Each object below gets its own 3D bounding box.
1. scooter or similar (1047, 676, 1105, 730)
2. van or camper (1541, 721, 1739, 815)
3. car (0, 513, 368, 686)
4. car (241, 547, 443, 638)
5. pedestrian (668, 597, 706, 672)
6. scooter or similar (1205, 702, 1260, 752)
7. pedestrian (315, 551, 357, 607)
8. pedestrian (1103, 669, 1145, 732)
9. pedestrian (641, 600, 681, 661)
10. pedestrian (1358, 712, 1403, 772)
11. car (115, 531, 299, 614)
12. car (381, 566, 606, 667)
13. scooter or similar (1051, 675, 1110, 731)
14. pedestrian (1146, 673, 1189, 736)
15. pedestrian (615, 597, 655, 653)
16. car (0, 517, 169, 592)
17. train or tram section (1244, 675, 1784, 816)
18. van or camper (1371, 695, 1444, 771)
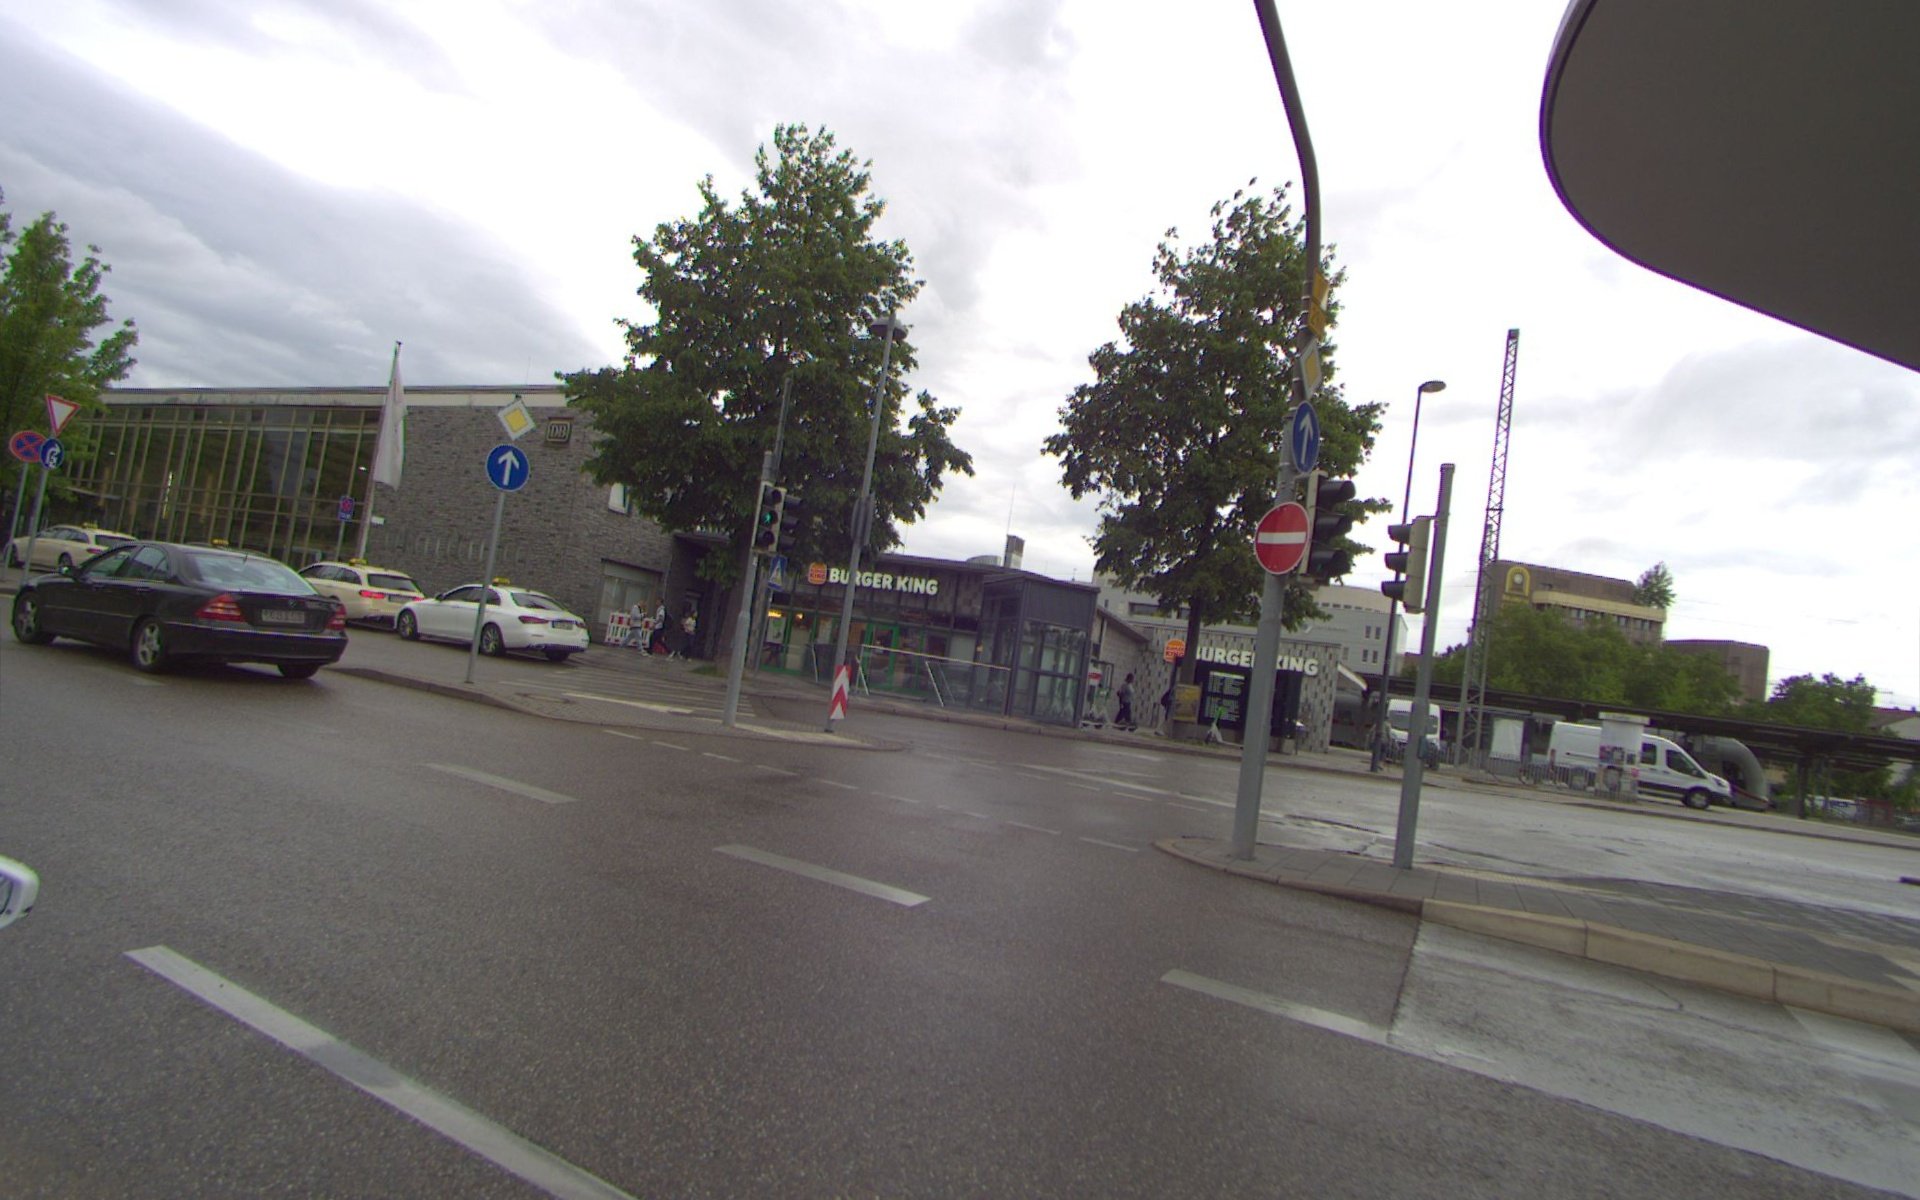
[{"bbox_3d":[2.926,2.592,25.424,1.281,1.196,0.333,7,-1,-5],"label":"scooter or similar"},{"bbox_3d":[25.340,6.198,37.807,5.764,2.461,1.999,6,-2,29],"label":"van or camper"},{"bbox_3d":[-9.271,-0.025,11.770,4.371,1.482,1.700,6,-2,24],"label":"car"},{"bbox_3d":[-15.324,-0.199,24.904,4.873,1.618,1.999,6,-2,29],"label":"car"},{"bbox_3d":[-8.339,1.071,30.792,0.709,2.189,0.798,7,-1,-2],"label":"pedestrian"},{"bbox_3d":[7.328,3.414,27.084,1.281,1.196,0.333,7,-1,-5],"label":"scooter or similar"},{"bbox_3d":[-19.716,-0.651,31.779,0.785,1.645,0.721,7,-1,-16],"label":"pedestrian"},{"bbox_3d":[4.781,2.923,29.361,0.713,1.686,0.793,7,-1,-23],"label":"pedestrian"},{"bbox_3d":[-8.760,0.895,29.487,0.762,1.686,0.647,6,-1,7],"label":"pedestrian"},{"bbox_3d":[11.981,4.045,28.680,0.825,1.547,0.638,7,-1,-1],"label":"pedestrian"},{"bbox_3d":[-20.836,-0.777,27.808,4.872,1.616,2.001,6,-4,28],"label":"car"},{"bbox_3d":[-10.284,0.346,22.098,4.819,1.618,1.884,6,-2,29],"label":"car"},{"bbox_3d":[2.966,2.538,24.824,1.281,1.196,0.333,7,-1,-5],"label":"scooter or similar"},{"bbox_3d":[5.898,2.965,28.570,0.786,1.686,0.720,6,-2,39],"label":"pedestrian"},{"bbox_3d":[-9.877,0.764,30.559,0.760,1.598,0.708,6,-2,39],"label":"pedestrian"},{"bbox_3d":[-26.567,-1.385,30.294,4.866,1.618,2.001,7,-2,21],"label":"car"},{"bbox_3d":[33.260,8.668,63.850,28.805,4.230,4.603,6,-2,29],"label":"train or tram section"},{"bbox_3d":[17.381,5.091,39.357,2.126,2.461,5.868,6,-2,22],"label":"van or camper"}]
